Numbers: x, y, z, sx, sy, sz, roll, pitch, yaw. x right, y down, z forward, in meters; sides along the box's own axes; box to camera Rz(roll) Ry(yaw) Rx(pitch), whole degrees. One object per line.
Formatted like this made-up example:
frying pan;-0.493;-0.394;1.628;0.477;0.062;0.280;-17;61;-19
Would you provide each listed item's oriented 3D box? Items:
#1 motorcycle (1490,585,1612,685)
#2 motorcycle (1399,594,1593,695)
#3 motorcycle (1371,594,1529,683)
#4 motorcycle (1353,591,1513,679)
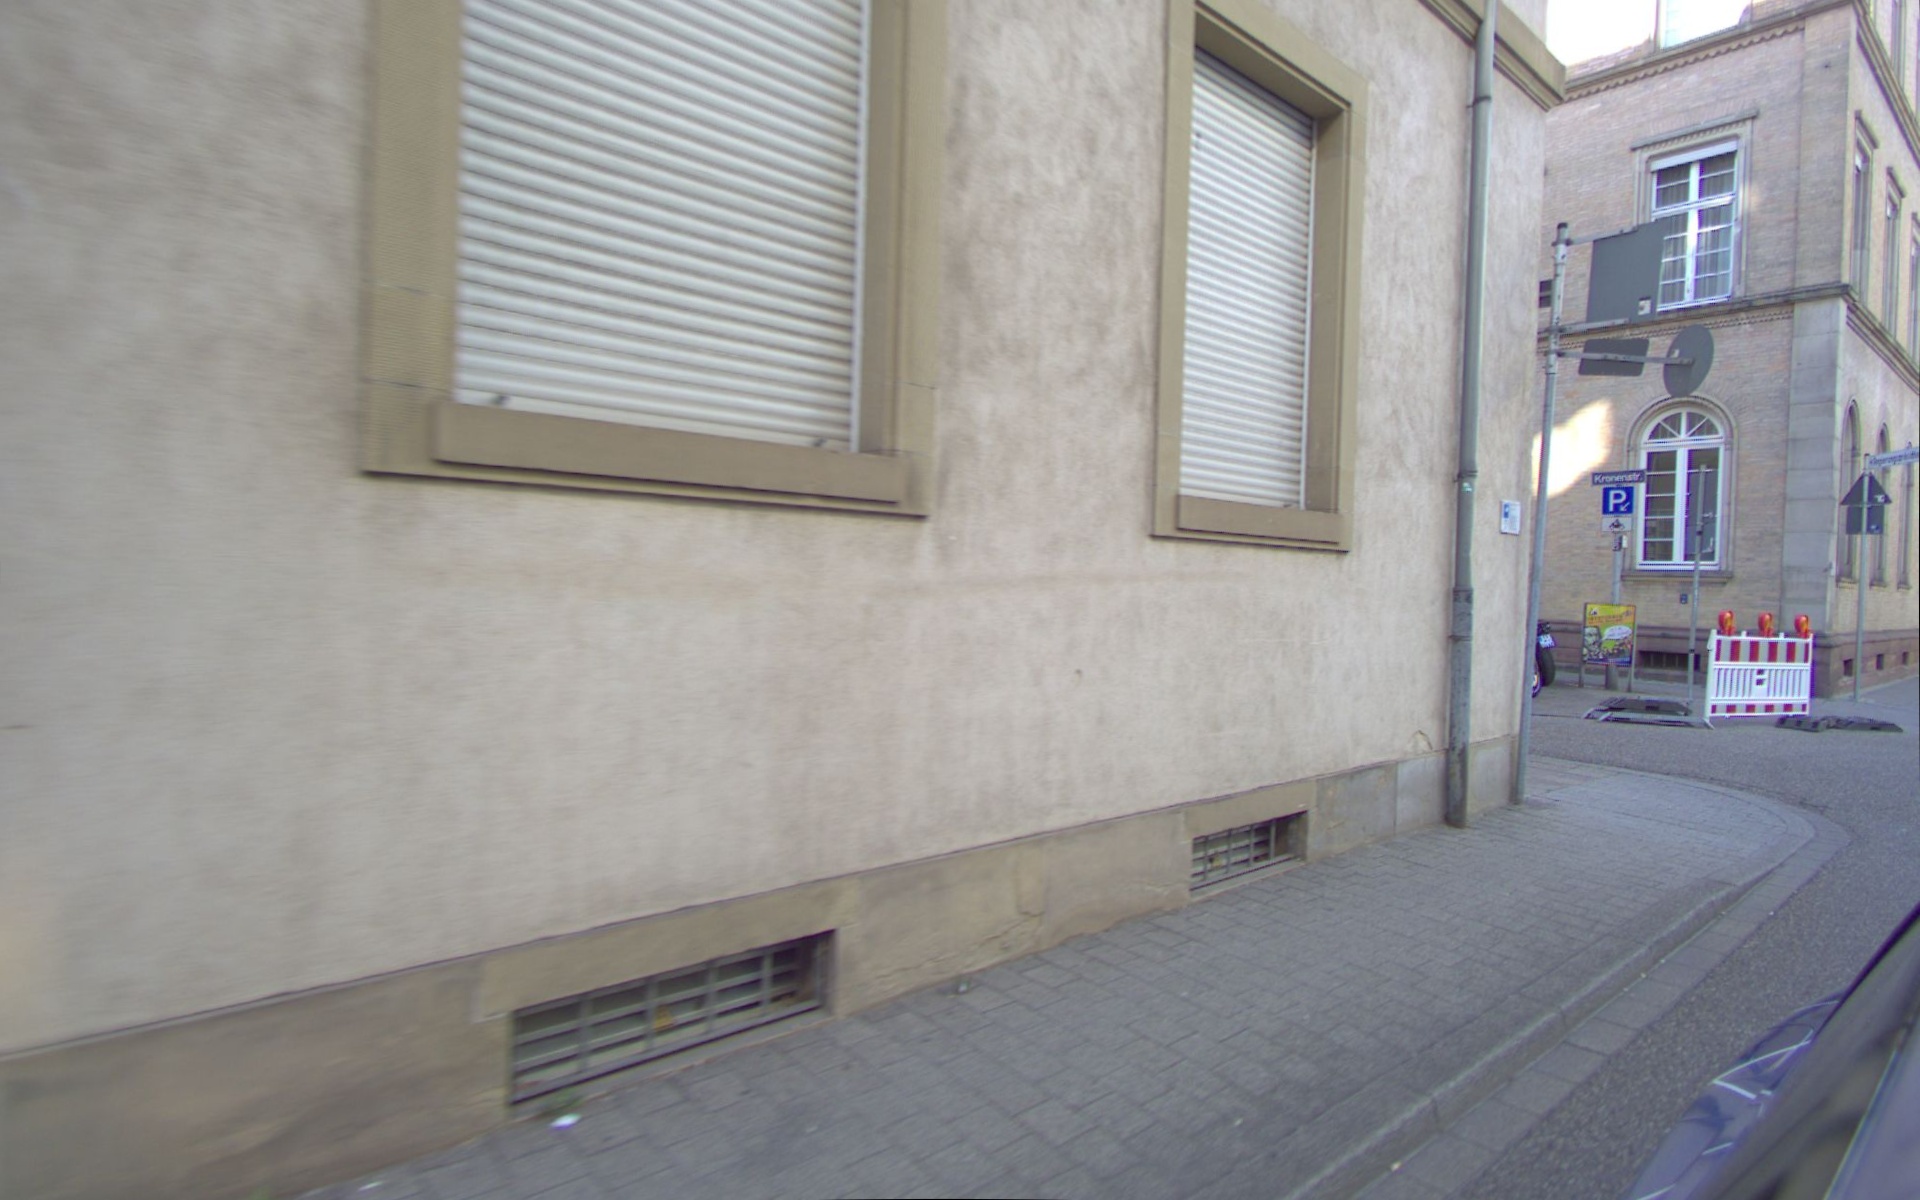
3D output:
motorcycle;8.909;0.476;15.362;0.694;1.349;2.078;1;2;3
motorcycle;7.277;0.584;13.844;2.111;1.239;0.875;1;3;4
motorcycle;7.290;0.553;15.137;1.919;1.240;0.828;1;1;4
motorcycle;7.494;0.532;16.110;2.106;1.304;0.828;1;1;4
